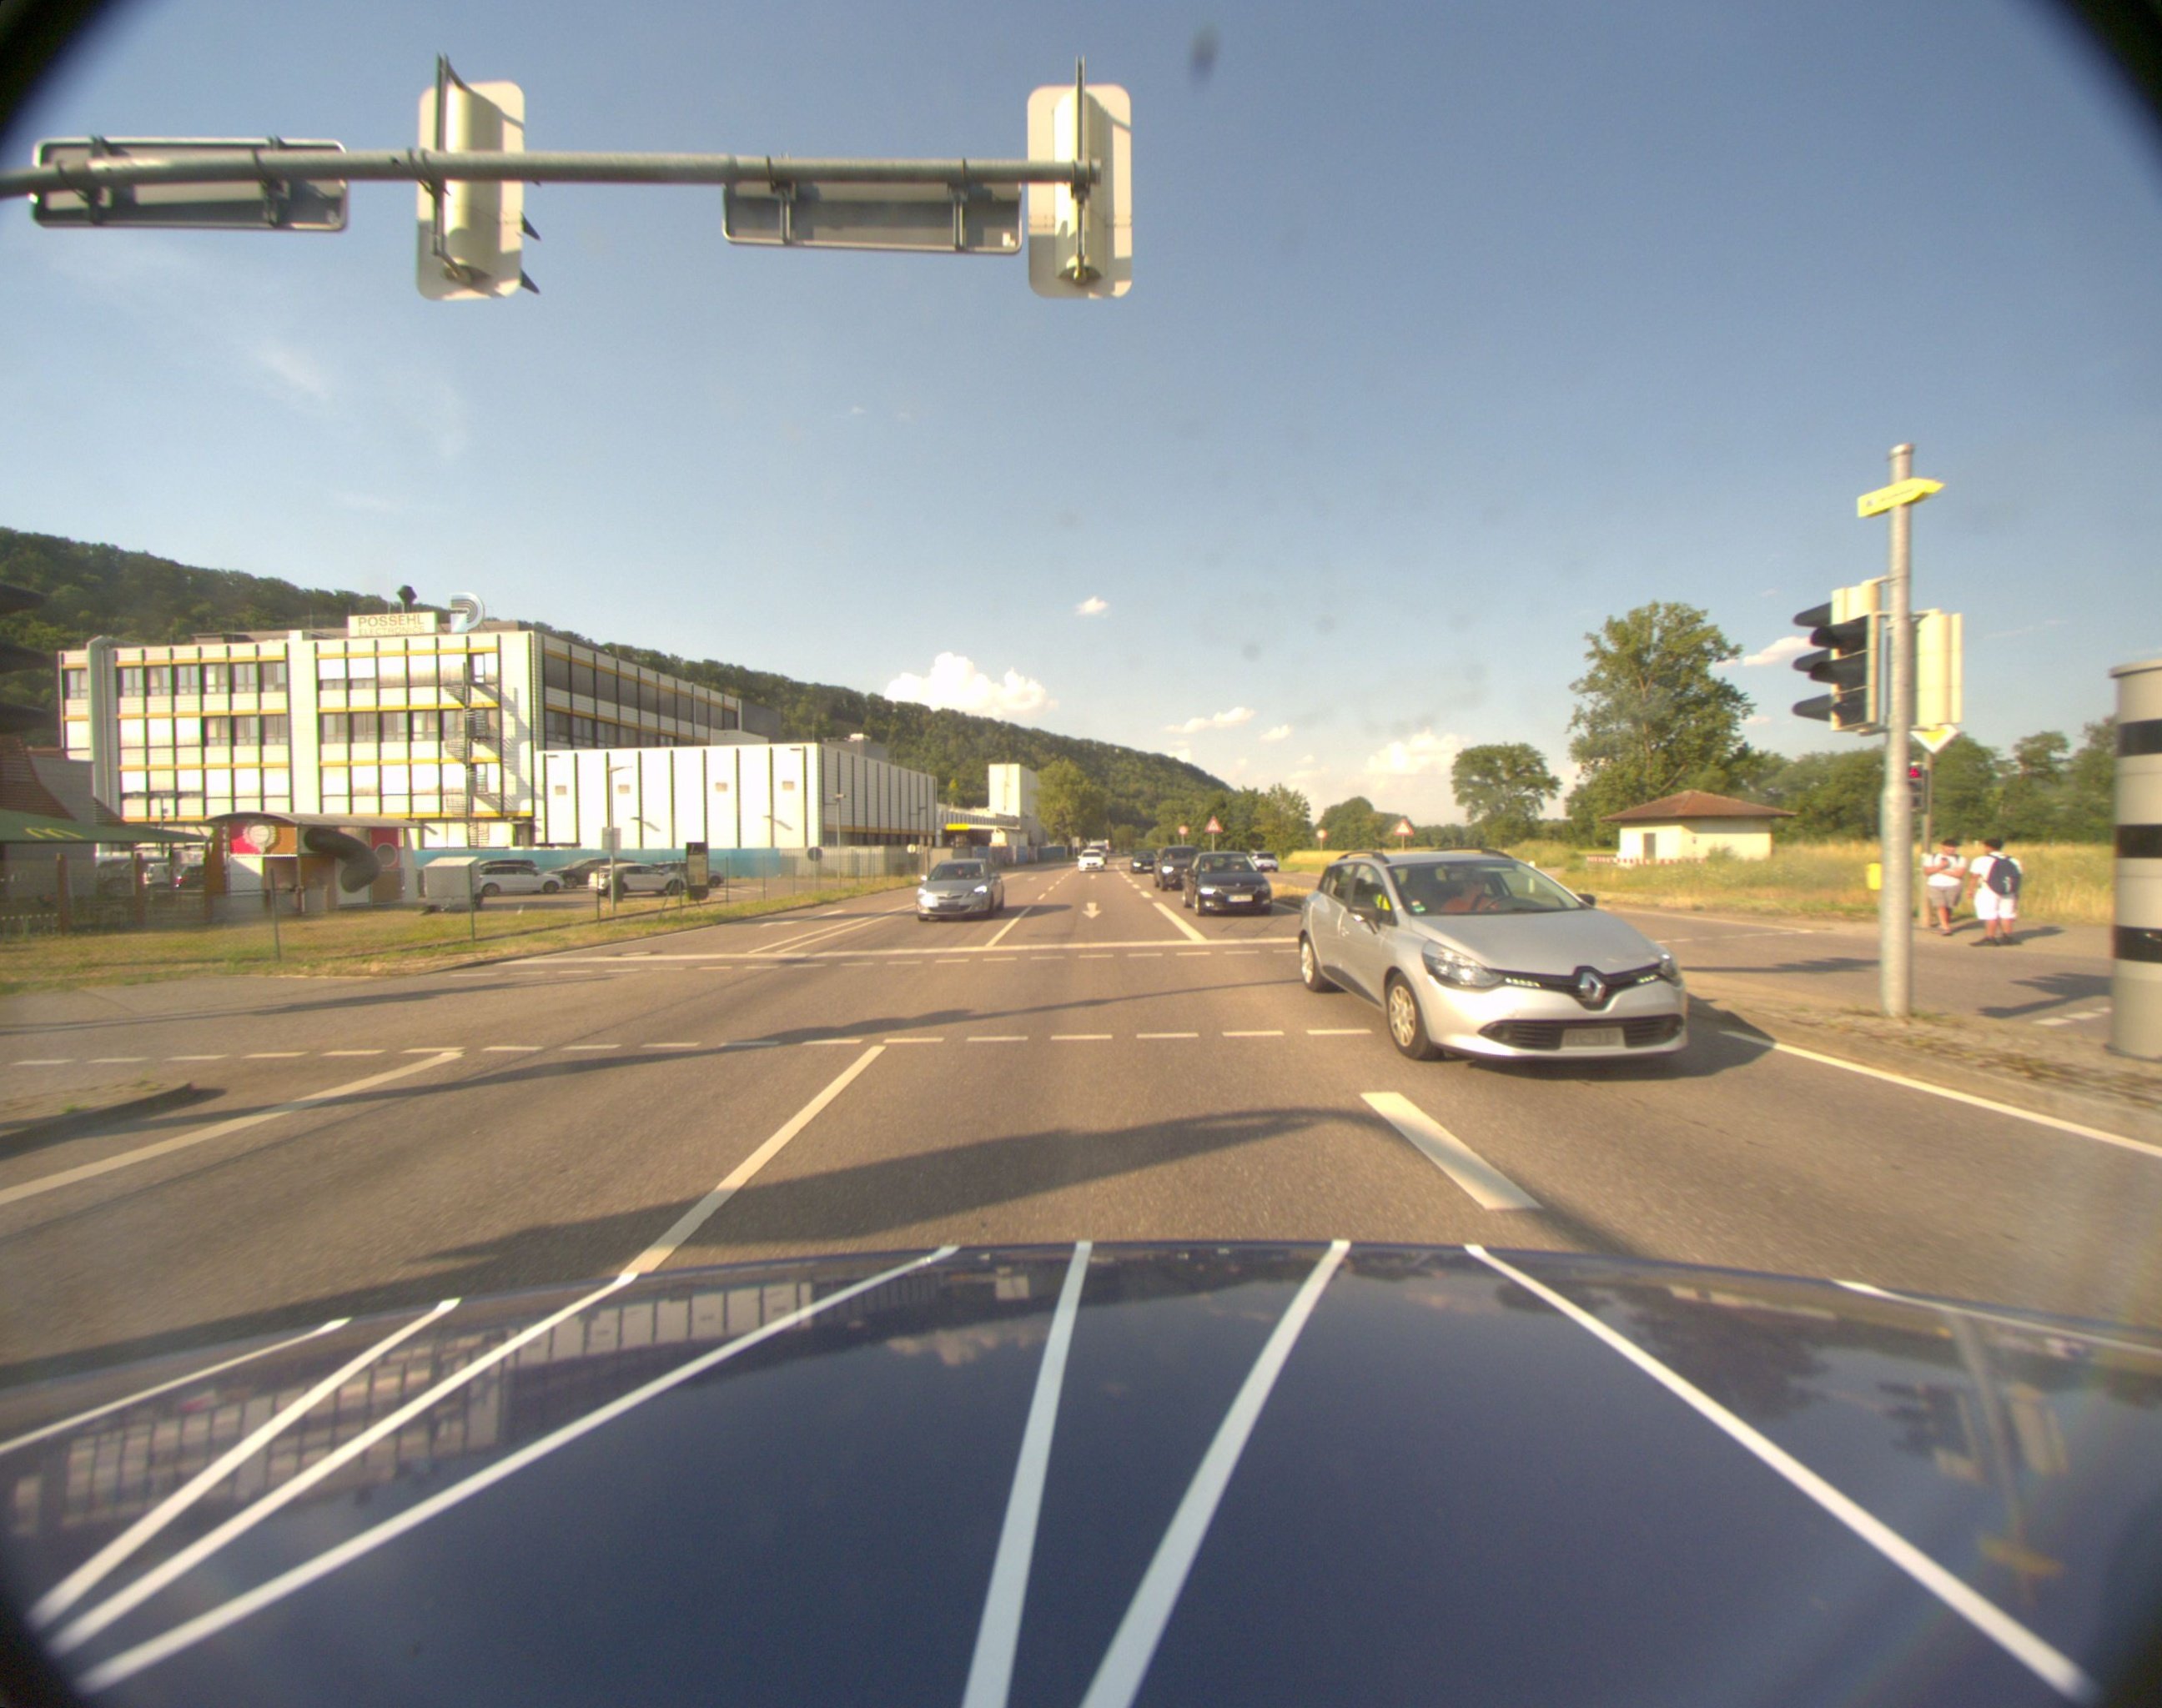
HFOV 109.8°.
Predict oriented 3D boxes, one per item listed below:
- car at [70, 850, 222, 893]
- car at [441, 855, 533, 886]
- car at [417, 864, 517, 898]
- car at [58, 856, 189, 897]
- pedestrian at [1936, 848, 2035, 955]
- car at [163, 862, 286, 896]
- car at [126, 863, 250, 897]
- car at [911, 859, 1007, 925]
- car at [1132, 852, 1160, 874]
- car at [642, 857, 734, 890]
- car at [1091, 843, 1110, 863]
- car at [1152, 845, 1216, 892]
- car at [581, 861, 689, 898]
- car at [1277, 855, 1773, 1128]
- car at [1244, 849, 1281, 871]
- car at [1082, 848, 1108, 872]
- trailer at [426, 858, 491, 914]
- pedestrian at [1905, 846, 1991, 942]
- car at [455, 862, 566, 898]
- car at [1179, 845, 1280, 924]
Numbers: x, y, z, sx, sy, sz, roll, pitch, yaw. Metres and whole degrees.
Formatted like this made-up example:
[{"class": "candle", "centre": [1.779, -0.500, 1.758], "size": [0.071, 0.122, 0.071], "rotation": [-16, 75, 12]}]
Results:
[{"class": "car", "centre": [-54.918, 0.991, 44.796], "size": [2.007, 2.218, 5.173], "rotation": [-2, 1, 19]}, {"class": "car", "centre": [-31.720, 0.846, 40.623], "size": [1.693, 1.447, 3.434], "rotation": [-2, 1, 33]}, {"class": "car", "centre": [-29.288, 1.284, 36.334], "size": [1.453, 1.380, 3.387], "rotation": [-2, 1, 32]}, {"class": "car", "centre": [-47.217, 1.062, 37.553], "size": [1.814, 1.767, 3.768], "rotation": [-2, 1, 32]}, {"class": "pedestrian", "centre": [14.372, 0.733, 12.095], "size": [0.655, 1.597, 0.891], "rotation": [-2, 2, 21]}, {"class": "car", "centre": [-41.723, 1.188, 37.088], "size": [1.791, 1.407, 3.677], "rotation": [-2, 1, 32]}, {"class": "car", "centre": [-43.992, 1.241, 37.497], "size": [1.791, 1.407, 3.677], "rotation": [-2, 1, 32]}, {"class": "car", "centre": [-2.968, 0.893, 19.293], "size": [1.690, 1.383, 3.883], "rotation": [-1, 1, 1]}, {"class": "car", "centre": [4.120, 0.552, 47.839], "size": [1.642, 1.285, 3.885], "rotation": [0, 1, 6]}, {"class": "car", "centre": [-20.967, 1.020, 40.667], "size": [1.872, 1.496, 3.914], "rotation": [-2, 1, 34]}, {"class": "car", "centre": [2.120, -0.134, 84.217], "size": [1.795, 2.155, 4.588], "rotation": [-1, 1, -2]}, {"class": "car", "centre": [3.806, 0.491, 28.736], "size": [1.858, 1.565, 4.144], "rotation": [-2, 1, 1]}, {"class": "car", "centre": [-21.075, 1.184, 35.994], "size": [1.872, 1.496, 3.914], "rotation": [-2, 1, 36]}, {"class": "car", "centre": [3.056, 0.789, 6.402], "size": [1.761, 1.468, 4.189], "rotation": [-2, 0, 1]}, {"class": "car", "centre": [12.837, 0.418, 53.943], "size": [1.712, 1.426, 4.144], "rotation": [1, 1, 1]}, {"class": "car", "centre": [1.032, 0.406, 55.845], "size": [1.825, 1.551, 3.999], "rotation": [-2, 1, 1]}, {"class": "trailer", "centre": [-22.662, 1.114, 27.760], "size": [1.351, 1.936, 3.472], "rotation": [0, 0, -31]}, {"class": "pedestrian", "centre": [15.062, 0.672, 13.224], "size": [0.655, 1.597, 0.838], "rotation": [-2, 2, 21]}, {"class": "car", "centre": [-27.114, 1.202, 36.225], "size": [1.693, 1.447, 3.782], "rotation": [-2, 1, 33]}, {"class": "car", "centre": [3.354, 0.623, 17.851], "size": [1.617, 1.565, 3.999], "rotation": [-2, 1, 1]}]
